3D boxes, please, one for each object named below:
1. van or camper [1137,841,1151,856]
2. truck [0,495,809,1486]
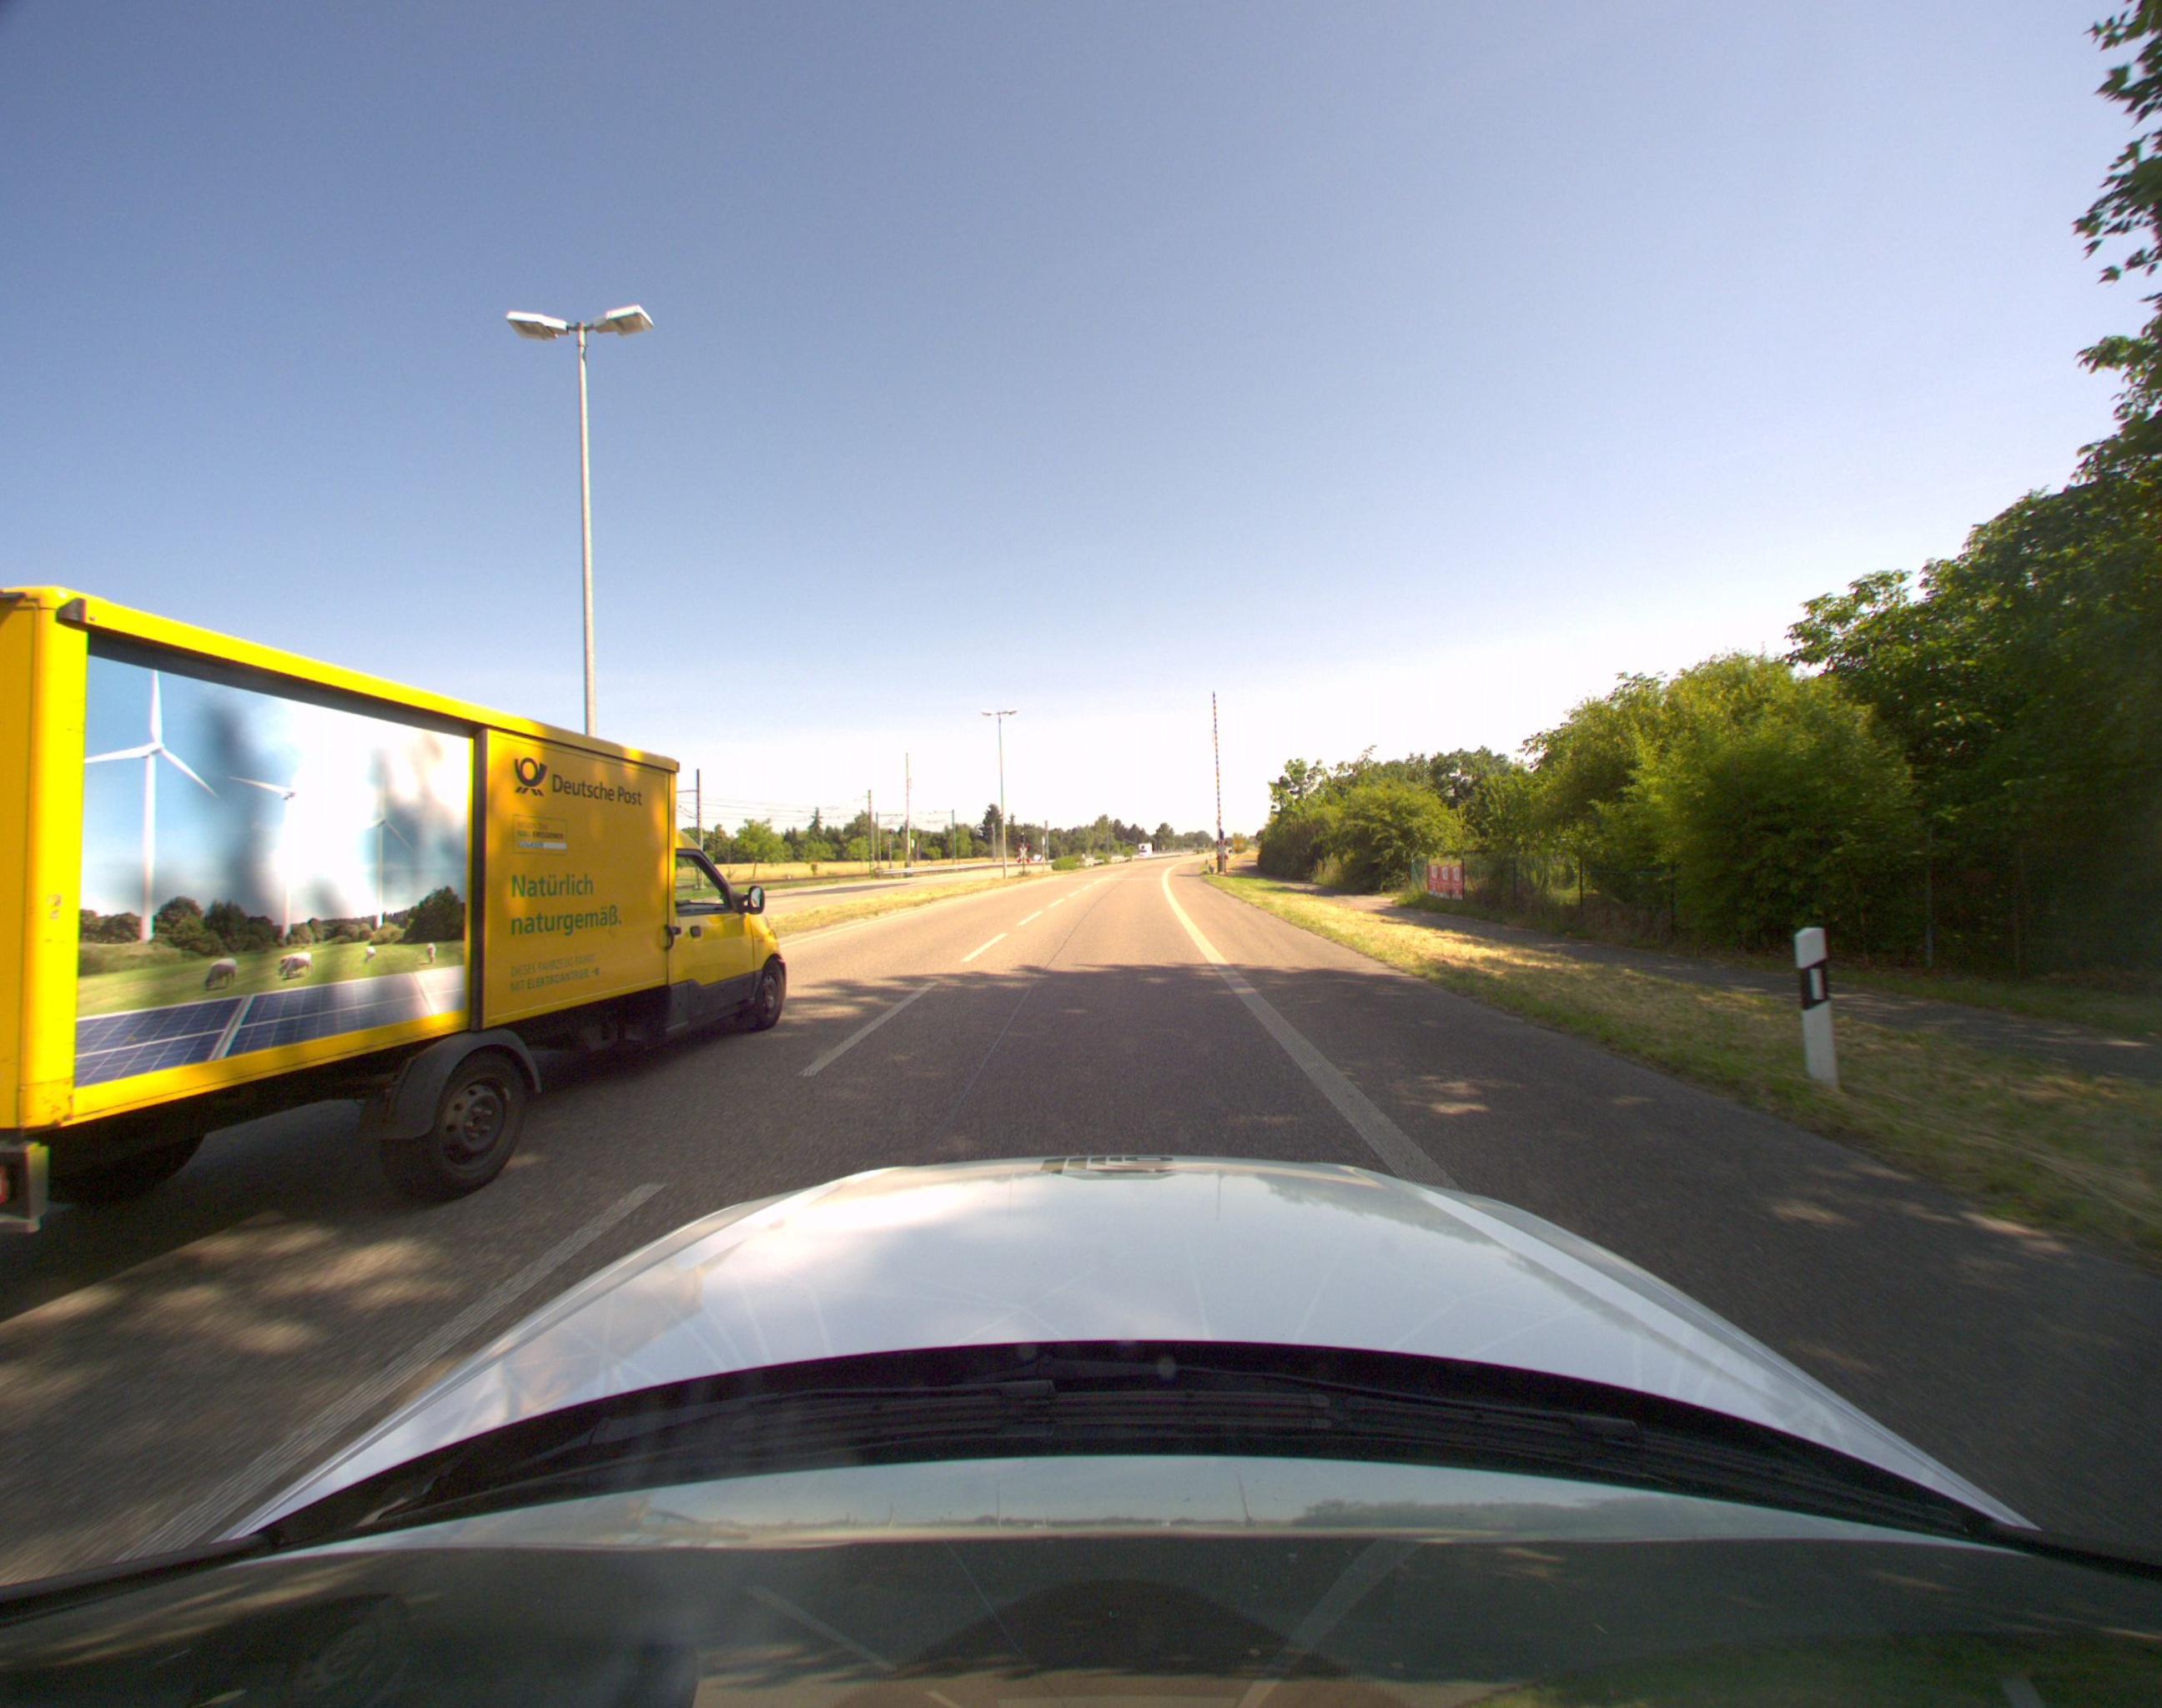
[{"bbox_3d":[16.096,-1.470,208.495,2.865,3.680,8.648,-2,0,2],"label":"van or camper"},{"bbox_3d":[-3.714,0.340,4.960,2.105,2.457,5.916,-1,0,0],"label":"truck"}]
